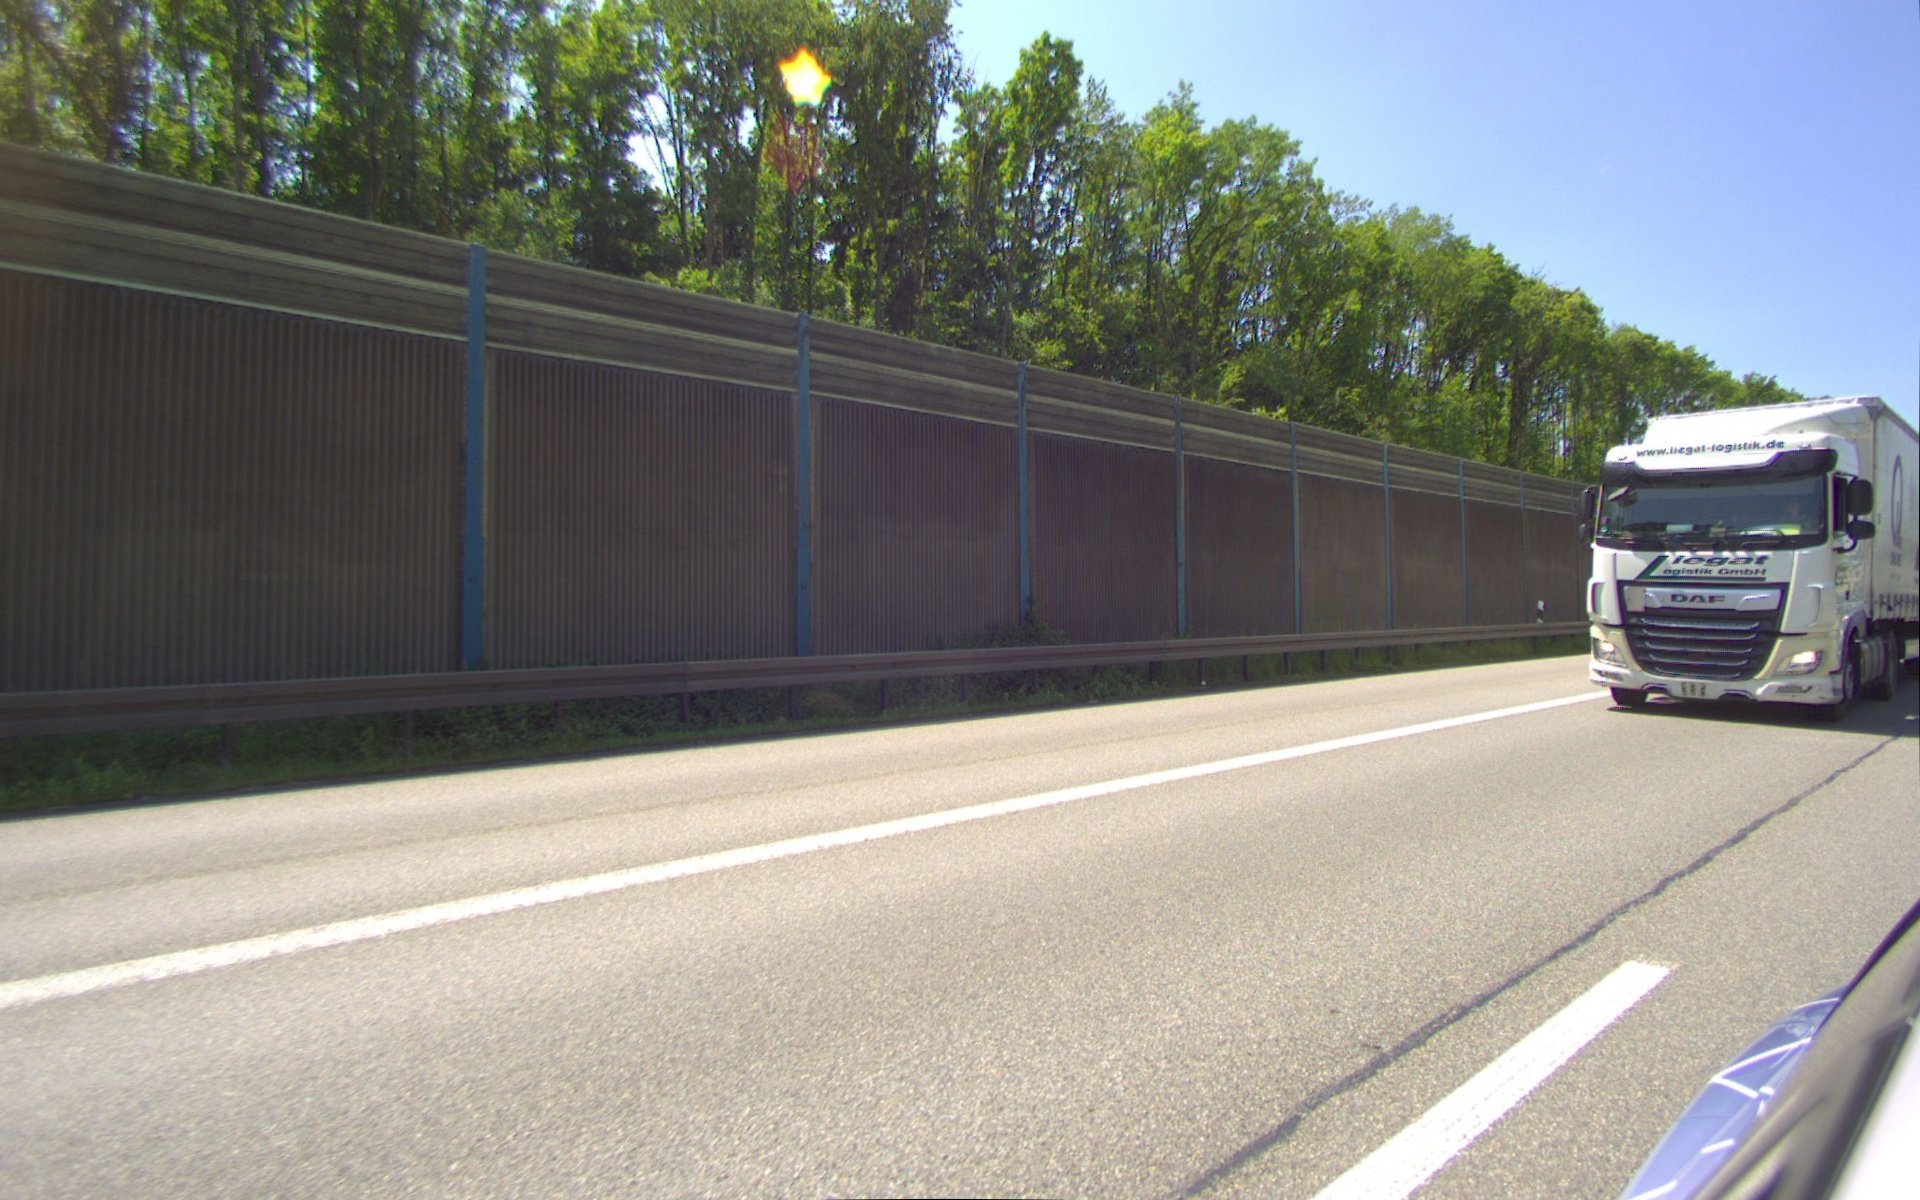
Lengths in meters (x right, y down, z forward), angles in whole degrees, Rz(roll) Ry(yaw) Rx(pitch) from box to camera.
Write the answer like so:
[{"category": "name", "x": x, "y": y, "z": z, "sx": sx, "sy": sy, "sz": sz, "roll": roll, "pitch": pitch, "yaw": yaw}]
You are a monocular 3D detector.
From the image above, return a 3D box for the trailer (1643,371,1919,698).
[{"category": "trailer", "x": 16.166, "y": -0.851, "z": 18.467, "sx": 13.009, "sy": 4.258, "sz": 2.791, "roll": 0, "pitch": 0, "yaw": -41}]

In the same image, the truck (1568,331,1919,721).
[{"category": "truck", "x": 11.007, "y": -0.810, "z": 14.003, "sx": 5.765, "sy": 4.258, "sz": 2.791, "roll": 0, "pitch": 0, "yaw": -40}]
